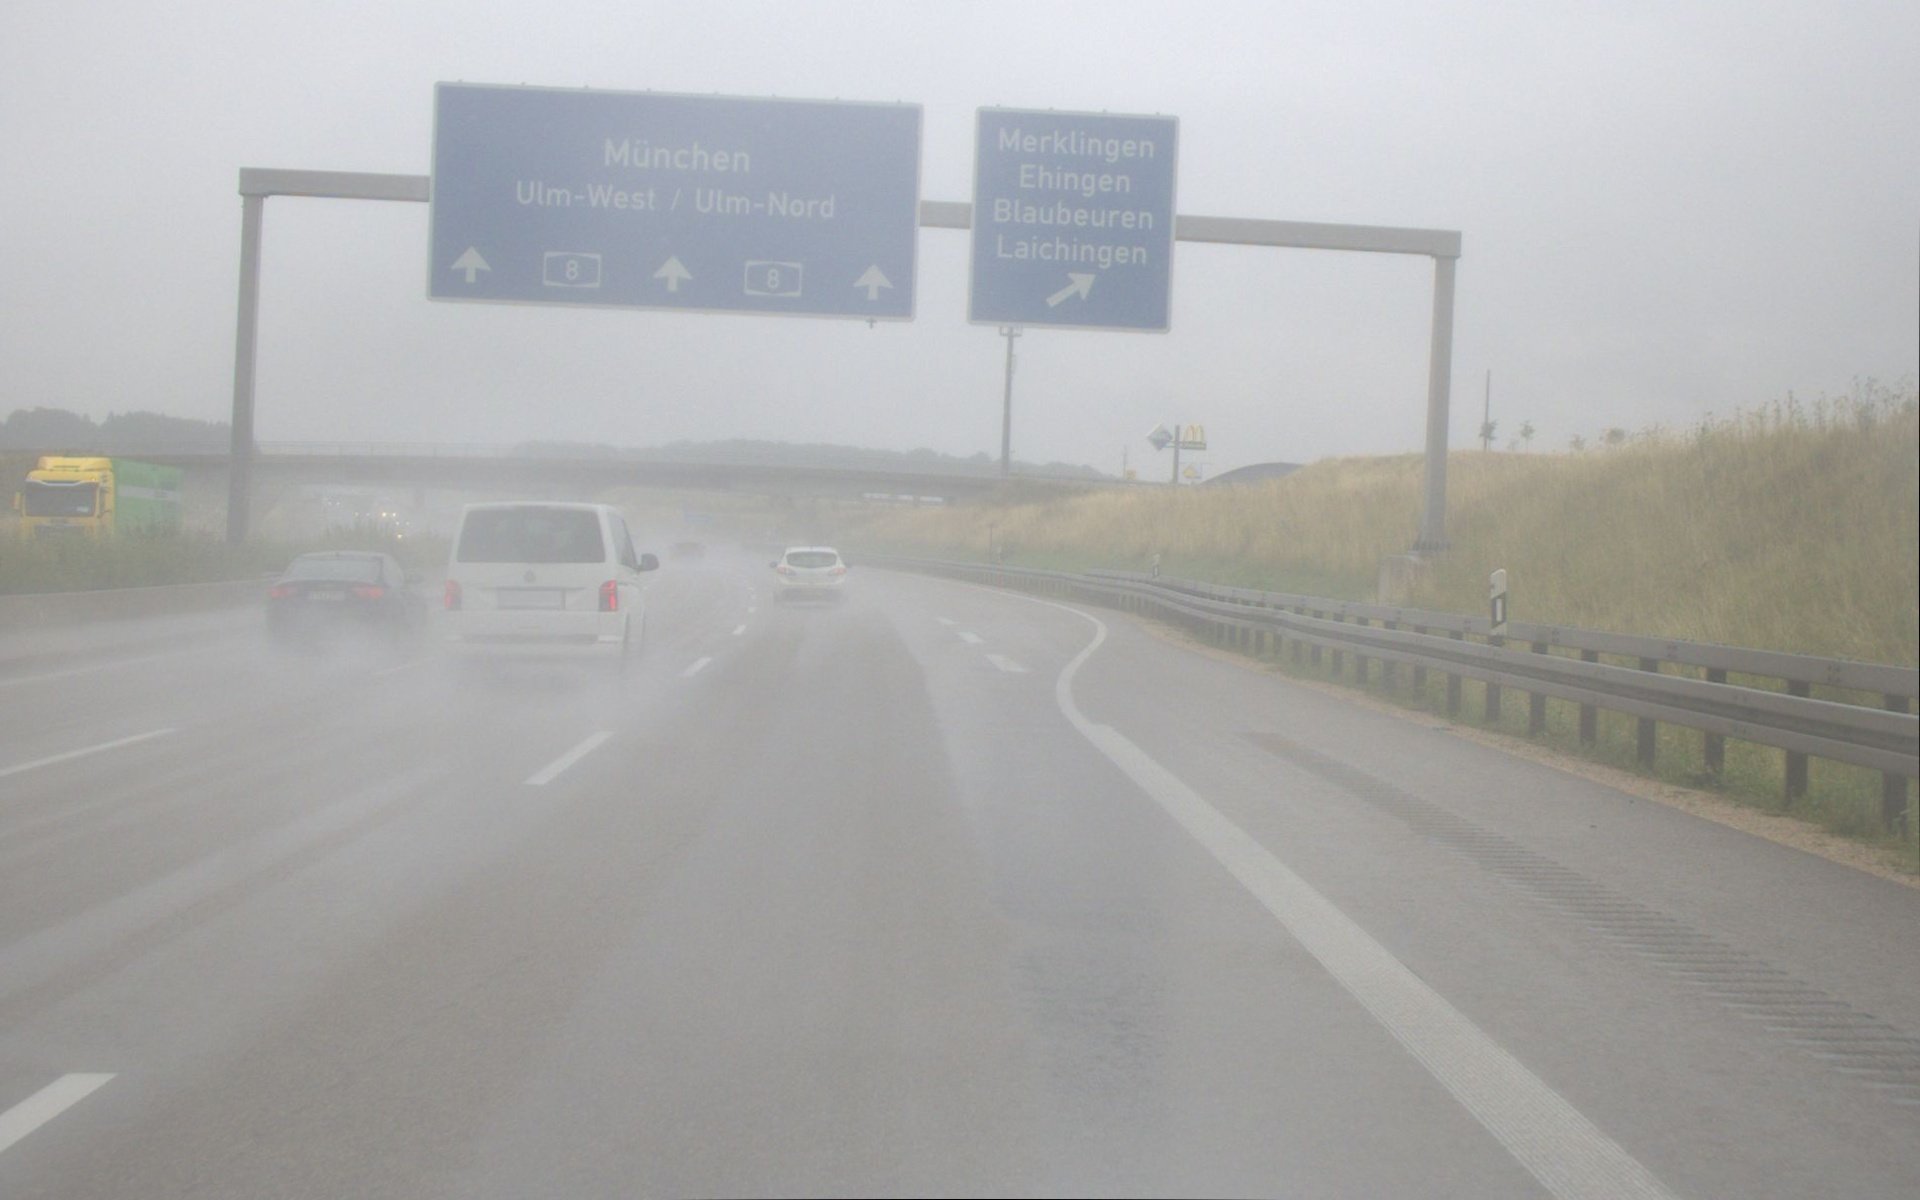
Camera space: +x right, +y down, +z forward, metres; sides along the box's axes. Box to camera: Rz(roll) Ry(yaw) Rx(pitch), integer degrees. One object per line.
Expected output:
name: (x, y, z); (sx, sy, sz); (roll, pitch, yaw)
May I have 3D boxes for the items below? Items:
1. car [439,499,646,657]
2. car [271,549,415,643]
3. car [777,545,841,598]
car: (-4.437, -0.251, 37.019); (1.897, 1.580, 4.001); (1, 1, -3)
car: (-8.532, -0.077, 47.728); (1.468, 1.253, 3.340); (0, 1, -1)
car: (-3.569, -0.682, 81.376); (1.468, 1.204, 2.992); (1, 1, -2)
